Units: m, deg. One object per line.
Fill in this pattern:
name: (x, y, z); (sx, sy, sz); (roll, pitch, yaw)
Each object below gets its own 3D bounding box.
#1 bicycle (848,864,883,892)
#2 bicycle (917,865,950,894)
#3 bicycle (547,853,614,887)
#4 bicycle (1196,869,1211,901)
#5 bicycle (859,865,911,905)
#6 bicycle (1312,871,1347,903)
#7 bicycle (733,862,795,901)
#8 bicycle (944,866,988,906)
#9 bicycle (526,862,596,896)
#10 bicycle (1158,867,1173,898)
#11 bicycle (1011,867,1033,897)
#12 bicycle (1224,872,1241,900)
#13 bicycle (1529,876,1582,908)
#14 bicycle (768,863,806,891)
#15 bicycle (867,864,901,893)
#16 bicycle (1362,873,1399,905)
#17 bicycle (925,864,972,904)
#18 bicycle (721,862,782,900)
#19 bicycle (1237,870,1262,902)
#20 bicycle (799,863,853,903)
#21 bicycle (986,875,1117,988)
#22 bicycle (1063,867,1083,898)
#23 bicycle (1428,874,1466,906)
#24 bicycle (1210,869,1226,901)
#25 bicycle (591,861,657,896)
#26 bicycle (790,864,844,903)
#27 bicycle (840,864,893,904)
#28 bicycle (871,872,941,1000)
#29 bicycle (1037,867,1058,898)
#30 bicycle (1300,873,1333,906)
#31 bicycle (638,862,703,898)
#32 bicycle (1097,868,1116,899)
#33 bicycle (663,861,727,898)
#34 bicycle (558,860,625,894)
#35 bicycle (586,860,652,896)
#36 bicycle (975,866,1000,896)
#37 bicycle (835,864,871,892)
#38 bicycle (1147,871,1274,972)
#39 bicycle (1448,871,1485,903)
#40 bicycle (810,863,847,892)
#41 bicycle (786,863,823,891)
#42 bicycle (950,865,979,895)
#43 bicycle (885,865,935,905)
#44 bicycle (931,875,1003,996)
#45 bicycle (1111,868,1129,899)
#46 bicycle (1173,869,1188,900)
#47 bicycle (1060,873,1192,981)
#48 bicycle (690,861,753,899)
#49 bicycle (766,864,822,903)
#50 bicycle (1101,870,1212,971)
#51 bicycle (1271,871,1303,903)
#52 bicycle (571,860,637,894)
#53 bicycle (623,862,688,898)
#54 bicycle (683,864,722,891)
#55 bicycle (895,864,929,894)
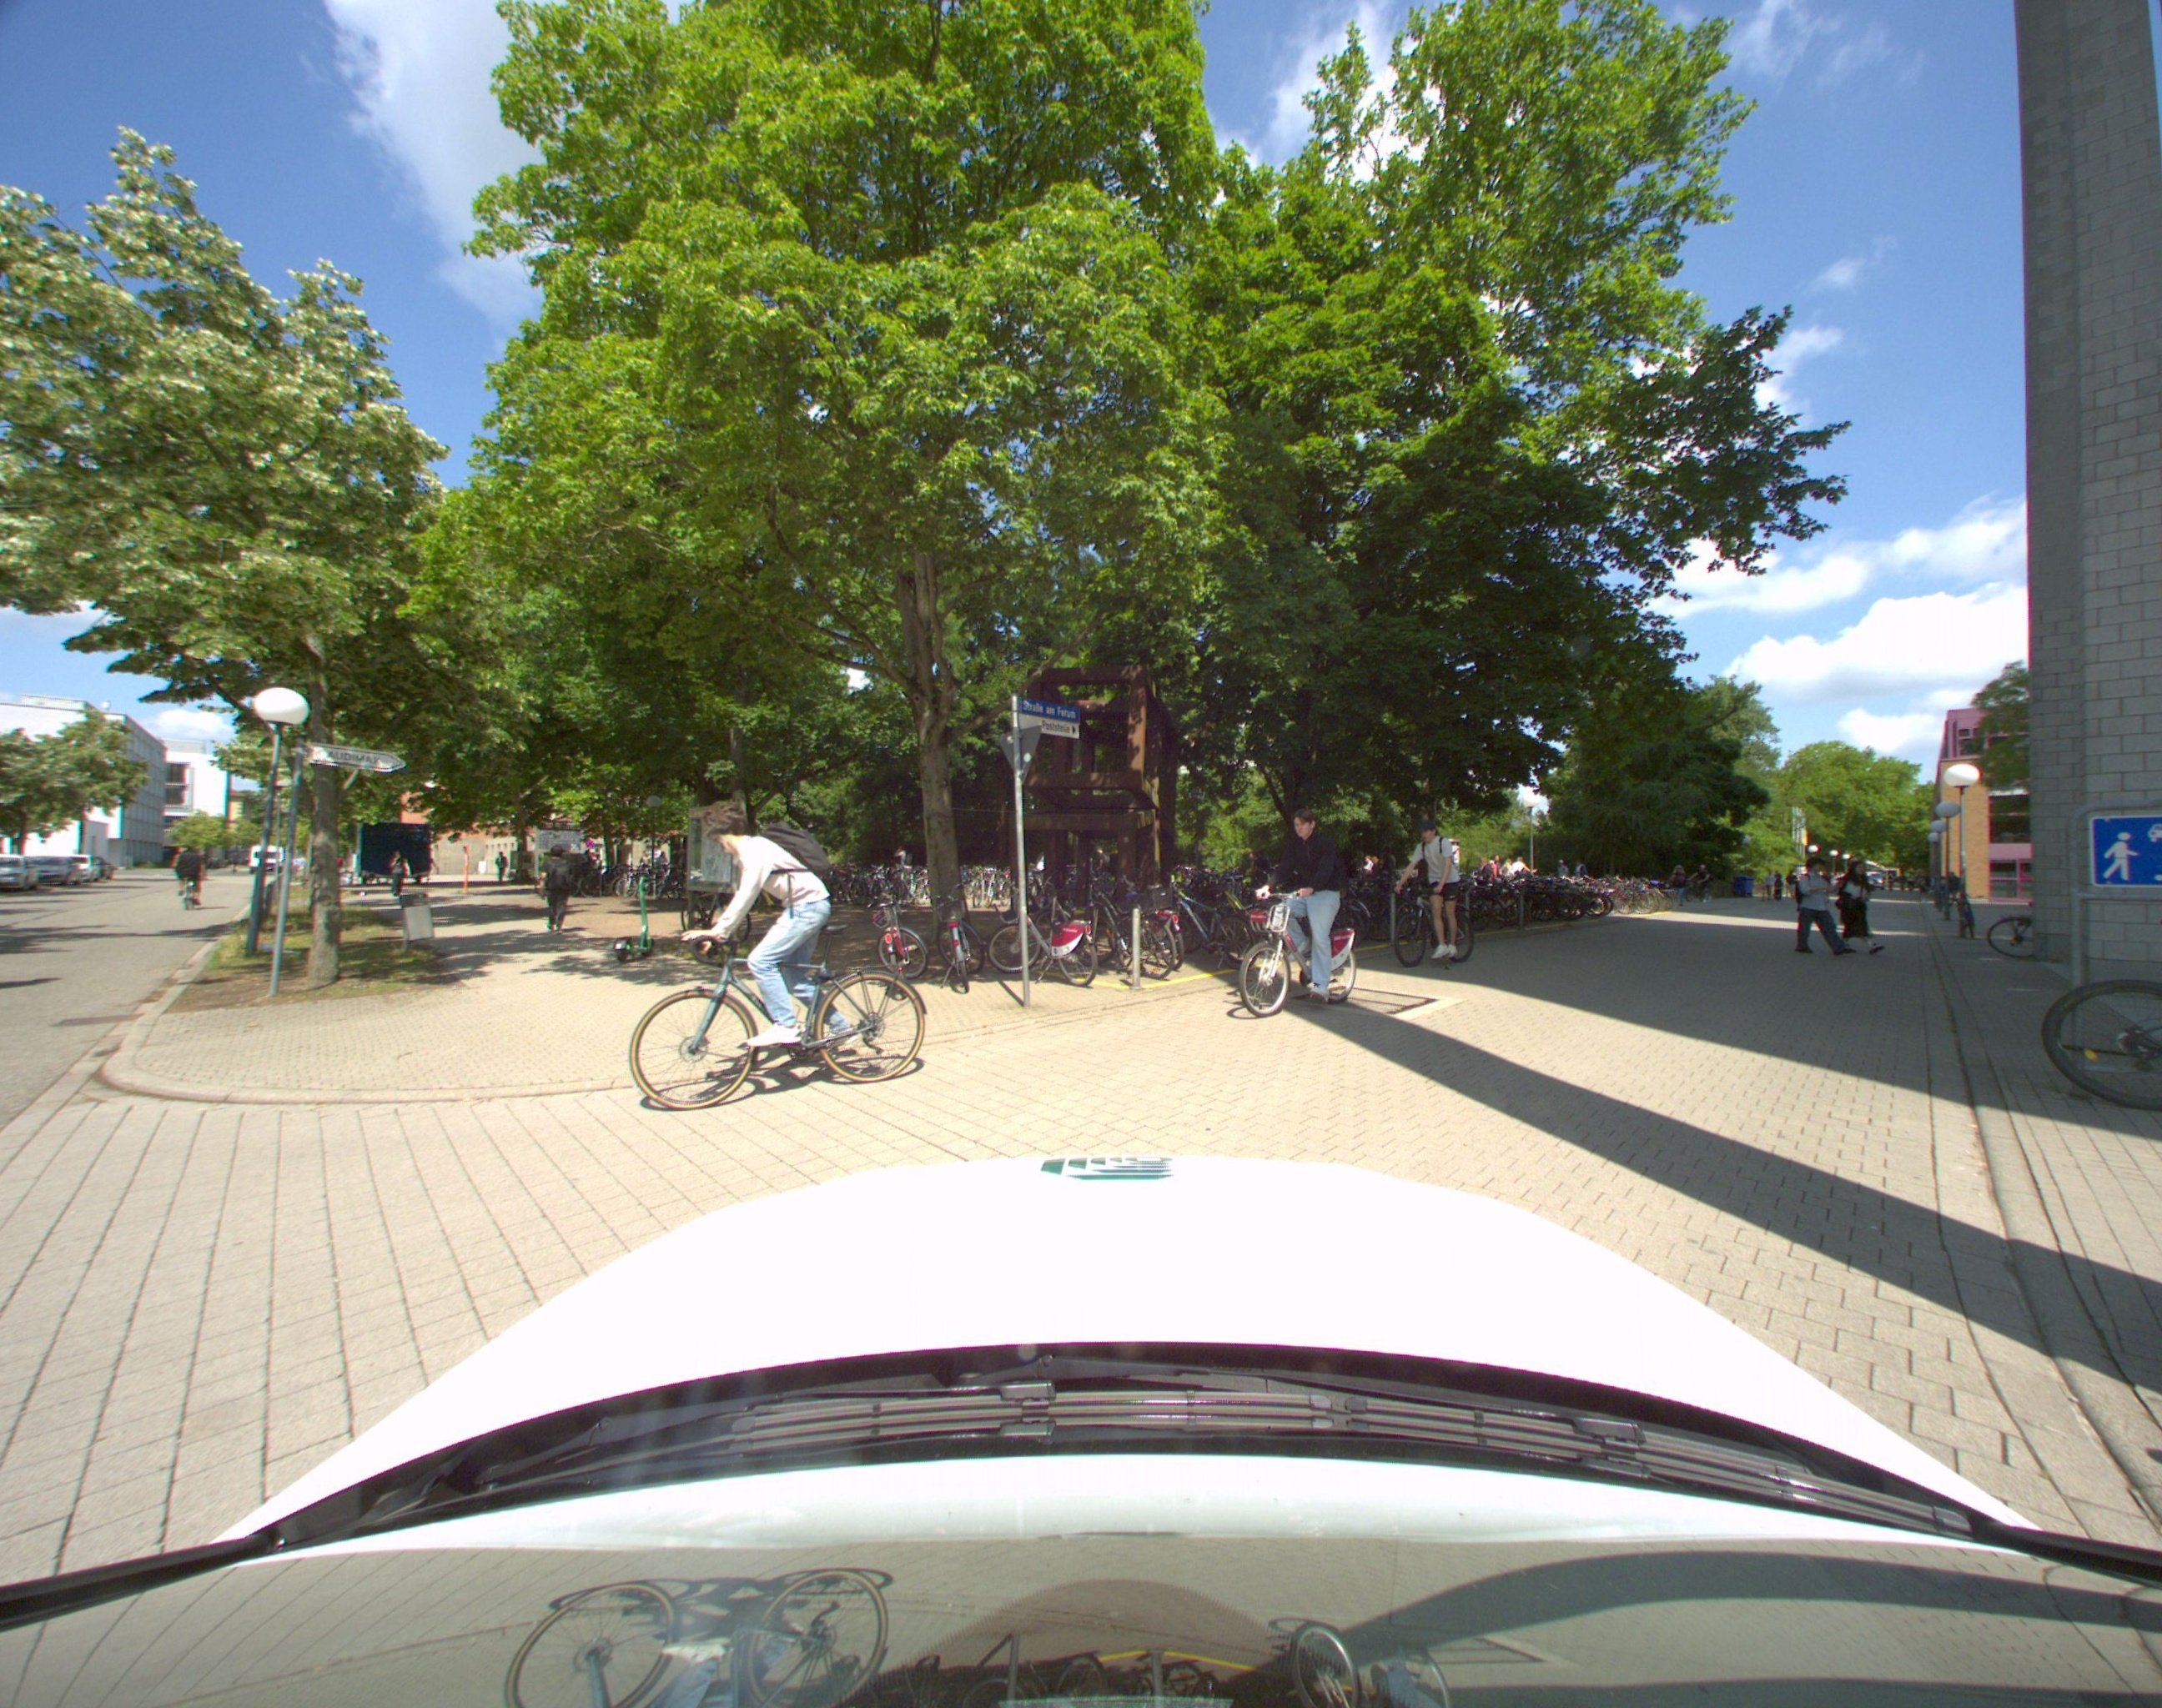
bicycle: (-8.450, 0.938, 31.965); (0.469, 1.083, 1.707); (2, -1, 17)
bicycle: (-5.580, 0.958, 30.894); (0.469, 1.083, 1.707); (2, -1, 17)
bicycle: (-16.989, 0.540, 27.683); (0.497, 1.108, 2.040); (2, -1, 19)
bicycle: (4.395, 1.102, 29.364); (0.470, 1.083, 1.703); (2, -1, 7)
bicycle: (-5.704, 0.887, 23.780); (0.497, 1.108, 2.014); (2, -1, 16)
bicycle: (8.917, 1.162, 29.282); (0.472, 1.083, 1.694); (2, -1, -8)
bicycle: (-9.628, 0.829, 24.805); (0.497, 1.108, 2.040); (2, -1, 19)
bicycle: (-3.304, 0.903, 23.575); (0.497, 1.108, 1.915); (2, -1, 16)
bicycle: (-18.018, 0.855, 28.262); (0.496, 1.108, 2.042); (1, -1, 27)
bicycle: (3.068, 1.019, 29.565); (0.470, 1.083, 1.703); (2, -1, 7)
bicycle: (-2.189, 1.017, 30.419); (0.470, 1.083, 1.703); (2, -1, 7)
bicycle: (5.395, 1.127, 29.060); (0.448, 0.962, 1.743); (2, -1, 7)
bicycle: (17.486, 1.386, 30.043); (0.475, 1.110, 1.683); (2, -1, -31)
bicycle: (-11.904, 0.913, 33.048); (0.469, 1.083, 1.707); (2, -1, 17)
bicycle: (-7.672, 0.949, 31.794); (0.469, 1.083, 1.707); (2, -1, 17)
bicycle: (10.755, 1.230, 29.304); (0.472, 1.083, 1.694); (2, -1, -8)
bicycle: (-3.830, 0.861, 23.678); (0.497, 1.108, 2.014); (2, -1, 16)
bicycle: (-10.105, 0.830, 25.056); (0.497, 1.108, 2.040); (2, -1, 19)
bicycle: (6.071, 1.152, 29.393); (0.471, 1.083, 1.699); (2, -1, -1)
bicycle: (-7.581, 0.850, 24.319); (0.497, 1.108, 2.038); (2, -1, 14)
bicycle: (-0.361, 0.804, 9.011); (0.500, 1.108, 1.610); (0, 0, -44)
bicycle: (-0.277, 1.040, 29.982); (0.470, 1.083, 1.703); (2, -1, 7)
bicycle: (13.249, 1.276, 29.512); (0.472, 1.083, 1.696); (2, -1, -5)
bicycle: (4.903, 1.107, 29.105); (0.470, 1.083, 1.703); (2, -1, 7)
bicycle: (-14.977, 0.791, 26.750); (0.497, 1.108, 2.040); (2, -1, 19)
bicycle: (-7.874, 0.858, 24.389); (0.497, 1.108, 2.038); (2, -1, 14)
bicycle: (-6.270, 0.864, 23.949); (0.497, 1.108, 2.014); (2, -1, 16)
bicycle: (-1.869, 0.796, 8.572); (0.638, 1.159, 1.621); (0, 0, -15)
bicycle: (-1.233, 1.030, 30.201); (0.470, 1.083, 1.703); (2, -1, 7)
bicycle: (8.417, 1.259, 29.161); (0.472, 1.083, 1.694); (2, -1, -8)
bicycle: (-13.081, 0.818, 26.027); (0.497, 1.108, 2.040); (2, -1, 19)
bicycle: (0.946, 1.052, 29.812); (0.470, 1.083, 1.703); (2, -1, 7)
bicycle: (-12.255, 0.798, 25.917); (0.497, 1.108, 2.040); (2, -1, 19)
bicycle: (-16.498, 0.764, 27.524); (0.497, 1.108, 2.040); (2, -1, 19)
bicycle: (-15.247, 0.780, 26.933); (0.497, 1.108, 2.040); (2, -1, 19)
bicycle: (-3.506, 0.993, 30.593); (0.470, 1.083, 1.703); (2, -1, 7)
bicycle: (-9.006, 0.941, 32.171); (0.469, 1.083, 1.707); (2, -1, 17)
bicycle: (1.576, 0.792, 10.112); (0.499, 1.108, 1.611); (3, -1, -39)
bicycle: (14.005, 1.183, 29.605); (0.471, 1.083, 1.698); (2, -1, -2)
bicycle: (-9.971, 0.921, 32.186); (0.469, 1.083, 1.707); (2, -1, 17)
bicycle: (-11.045, 0.913, 32.572); (0.469, 1.083, 1.707); (2, -1, 17)
bicycle: (-4.387, 0.959, 30.803); (0.469, 1.083, 1.705); (2, -1, 13)
bicycle: (-4.953, 0.877, 23.682); (0.497, 1.108, 2.014); (2, -1, 16)
bicycle: (-1.269, 0.811, 8.801); (0.589, 1.108, 1.738); (0, 0, -14)
bicycle: (1.442, 1.055, 29.687); (0.470, 1.083, 1.703); (2, -1, 7)
bicycle: (3.610, 1.092, 29.487); (0.470, 1.083, 1.703); (2, -1, 7)
bicycle: (0.489, 0.794, 9.423); (0.500, 1.108, 1.610); (0, 0, -44)
bicycle: (-11.213, 0.797, 25.454); (0.497, 1.108, 2.040); (2, -1, 19)
bicycle: (-8.620, 0.868, 24.561); (0.497, 1.108, 2.038); (2, -1, 14)
bicycle: (0.903, 0.779, 10.123); (0.499, 1.108, 1.613); (0, 0, -32)
bicycle: (7.404, 1.176, 29.272); (0.472, 1.083, 1.694); (2, -1, -8)
bicycle: (-15.916, 0.761, 27.227); (0.497, 1.108, 2.040); (2, -1, 19)
bicycle: (-13.673, 0.823, 26.229); (0.497, 1.108, 2.040); (2, -1, 19)
bicycle: (-16.219, 0.997, 34.930); (0.469, 1.083, 1.707); (2, -1, 17)
bicycle: (-6.500, 0.960, 31.415); (0.469, 1.083, 1.707); (2, -1, 17)
